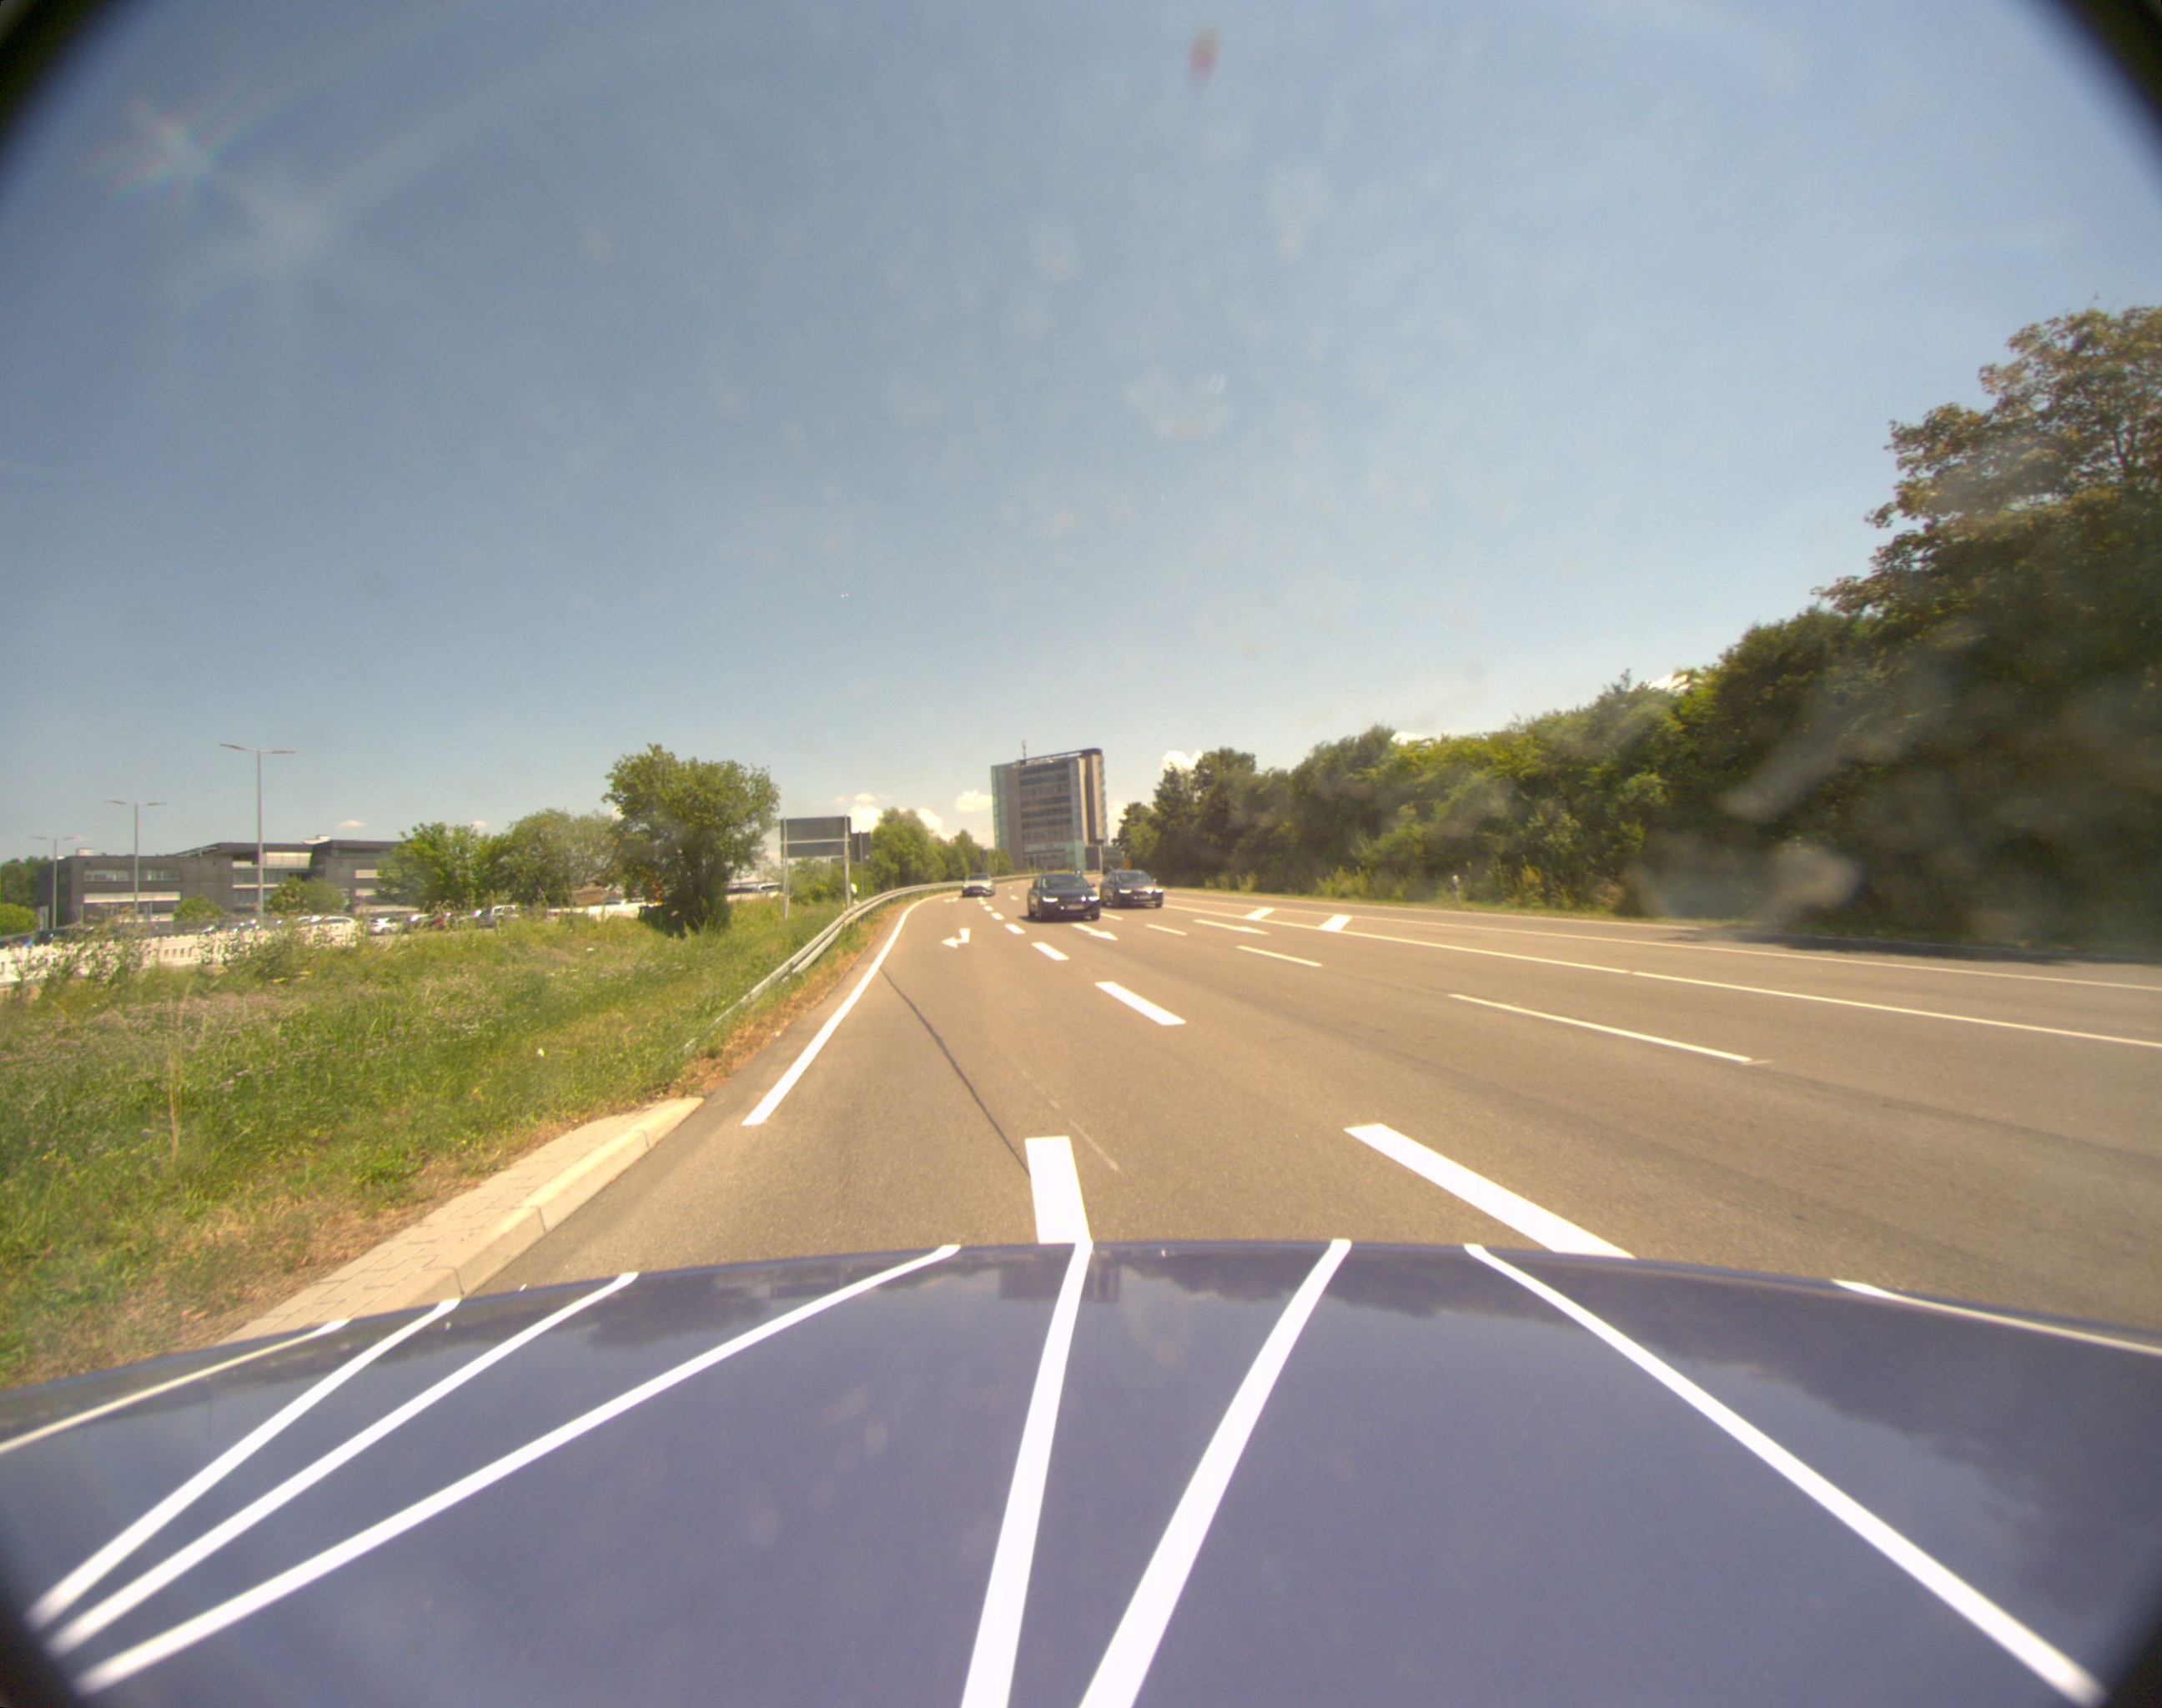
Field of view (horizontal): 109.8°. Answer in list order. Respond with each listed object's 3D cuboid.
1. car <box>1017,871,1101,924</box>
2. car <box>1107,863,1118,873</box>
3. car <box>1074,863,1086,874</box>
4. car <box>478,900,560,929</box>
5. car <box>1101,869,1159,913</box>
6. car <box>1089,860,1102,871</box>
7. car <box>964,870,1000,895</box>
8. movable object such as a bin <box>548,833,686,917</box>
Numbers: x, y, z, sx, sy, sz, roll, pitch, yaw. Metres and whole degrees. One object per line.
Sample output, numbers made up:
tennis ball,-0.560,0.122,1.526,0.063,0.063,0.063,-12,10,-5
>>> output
car,-0.799,1.308,23.812,1.740,1.433,4.295,-2,-1,-14
car,6.989,3.086,167.829,1.999,2.002,3.998,-2,1,-3
car,-0.265,2.869,154.400,1.999,2.002,3.998,-2,1,-5
car,-38.525,4.103,52.204,1.996,1.630,4.005,-1,1,18
car,1.863,1.411,30.144,1.739,1.434,4.390,-2,1,-3
car,2.761,2.259,146.171,1.999,2.002,3.998,-2,1,-3
car,-6.151,1.824,47.543,1.922,1.432,4.483,-1,-4,-3
movable object such as a bin,-24.866,1.015,41.361,2.987,4.021,8.100,-2,1,-5
